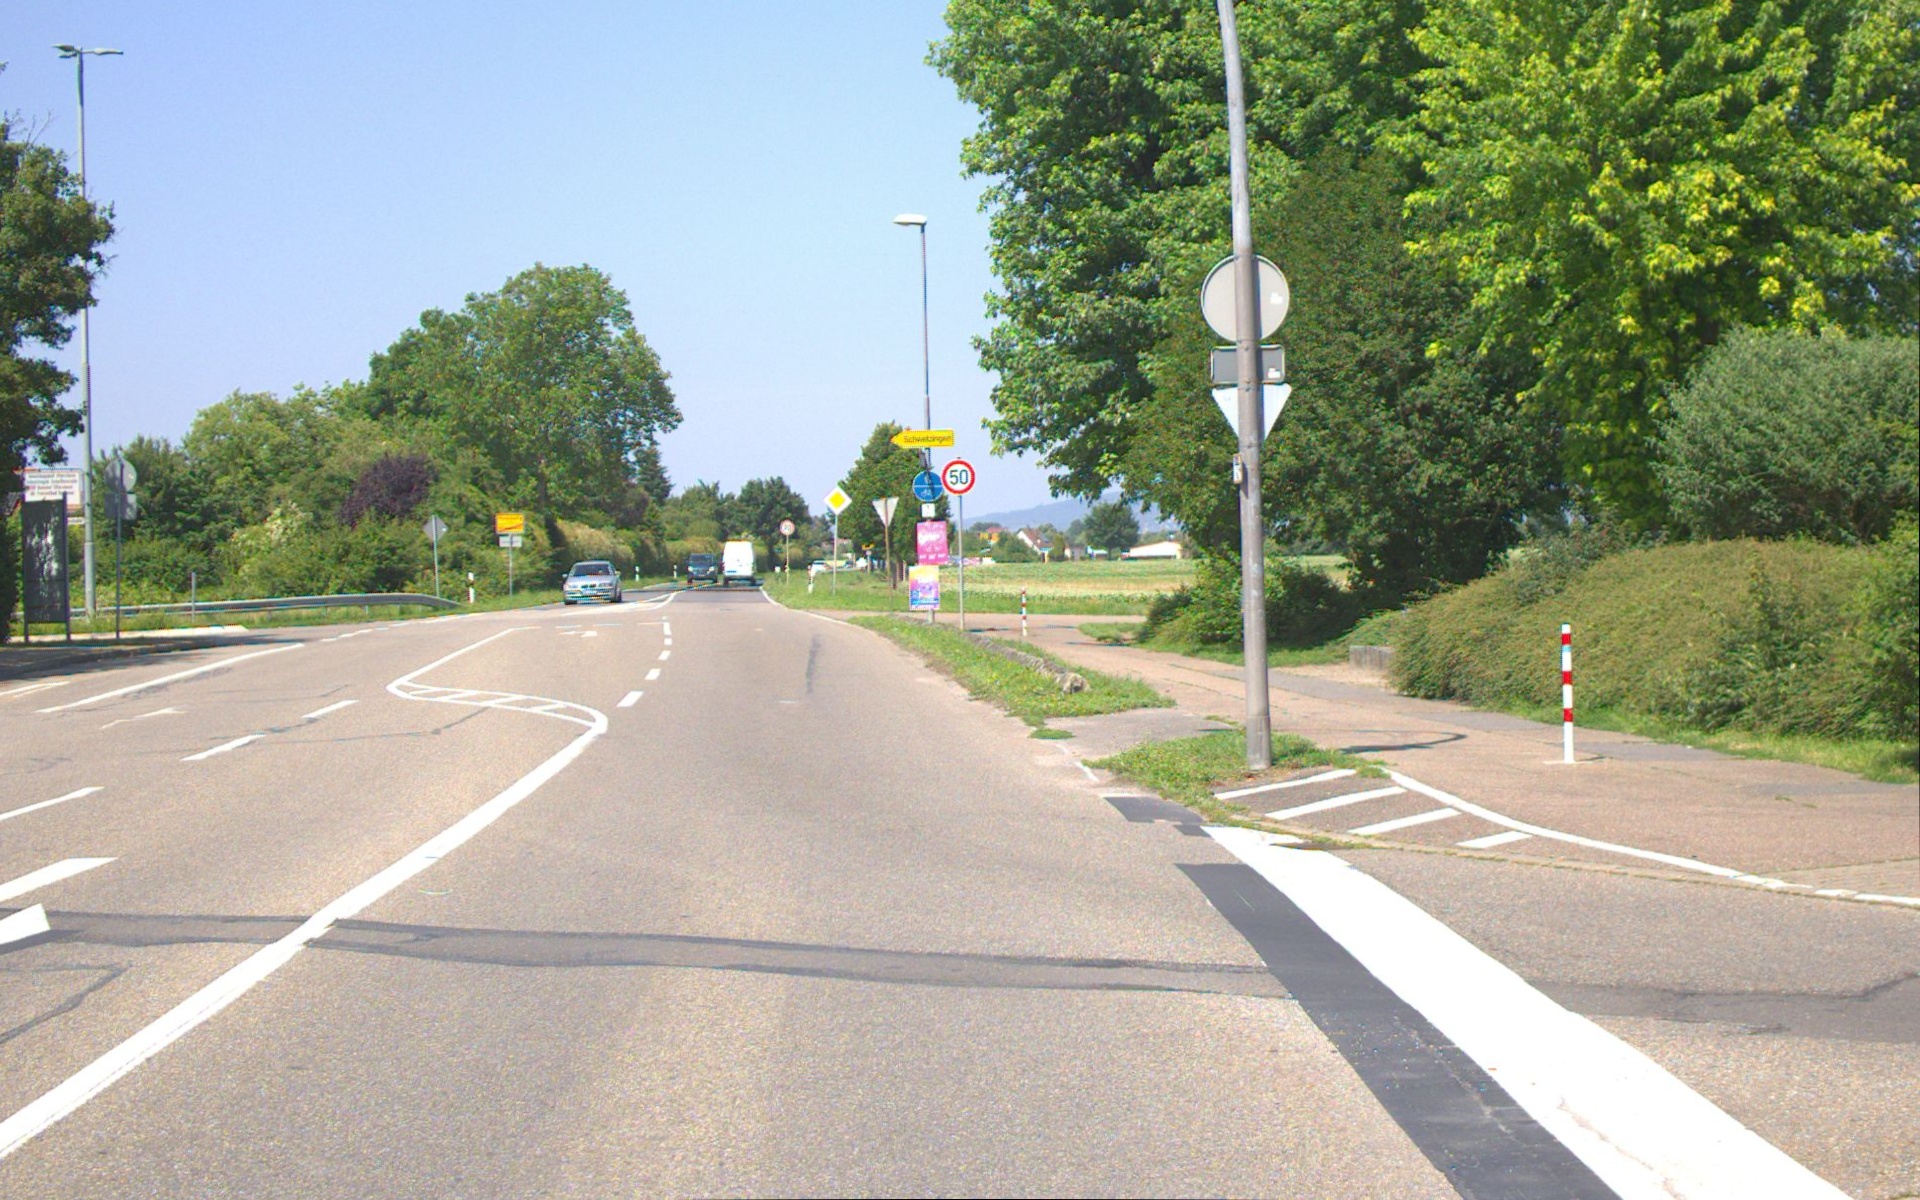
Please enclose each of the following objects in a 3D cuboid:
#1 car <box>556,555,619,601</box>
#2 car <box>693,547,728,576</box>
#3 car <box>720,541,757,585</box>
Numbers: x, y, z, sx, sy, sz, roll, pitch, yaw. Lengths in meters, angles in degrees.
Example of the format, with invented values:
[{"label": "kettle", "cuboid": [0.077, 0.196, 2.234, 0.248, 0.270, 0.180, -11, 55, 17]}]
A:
[{"label": "car", "cuboid": [-12.413, -0.750, 114.792, 1.636, 1.466, 4.416, -1, 1, -1]}, {"label": "car", "cuboid": [-17.259, -2.648, 237.634, 2.144, 1.944, 5.248, -1, 1, -7]}, {"label": "car", "cuboid": [-13.858, -2.313, 214.800, 1.993, 2.642, 4.001, -1, 1, -8]}]
